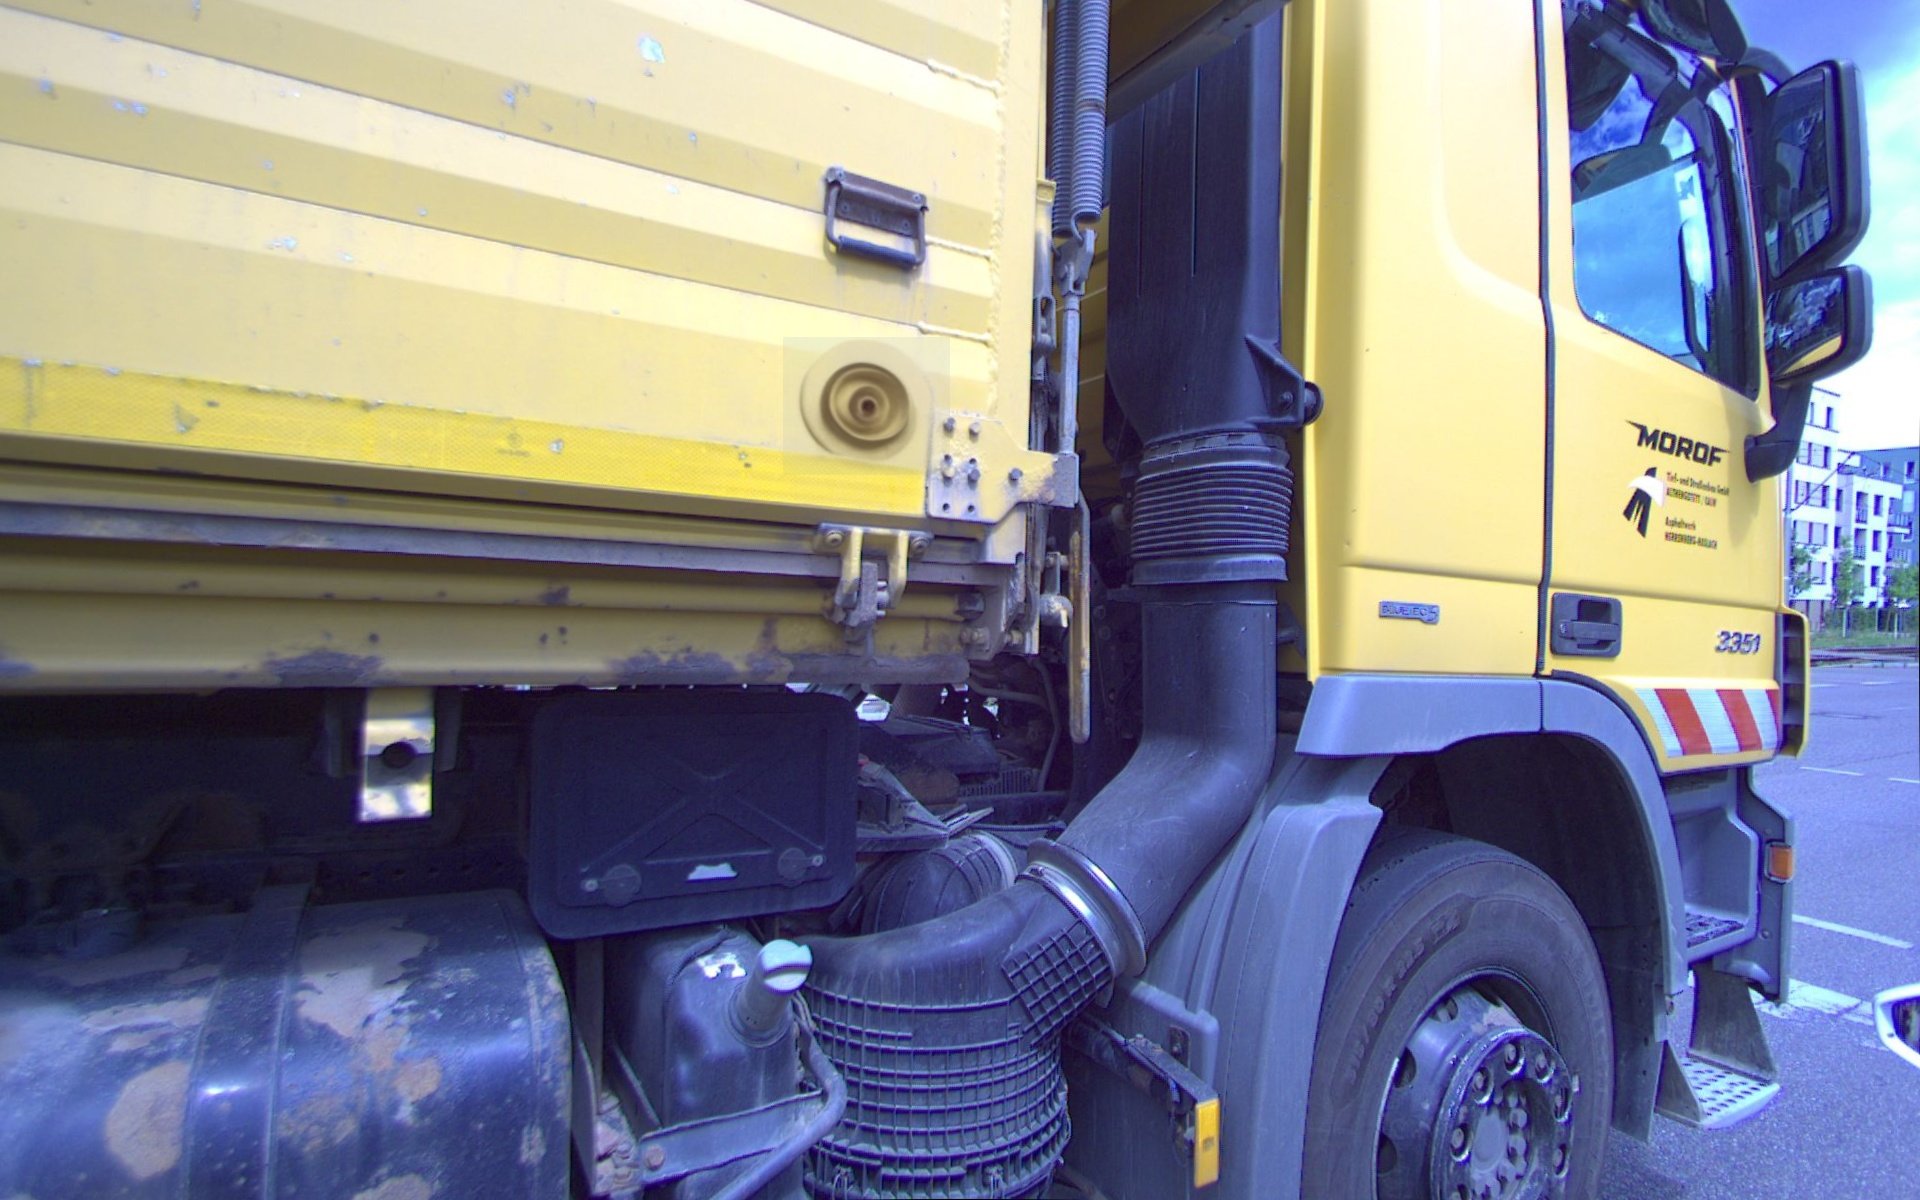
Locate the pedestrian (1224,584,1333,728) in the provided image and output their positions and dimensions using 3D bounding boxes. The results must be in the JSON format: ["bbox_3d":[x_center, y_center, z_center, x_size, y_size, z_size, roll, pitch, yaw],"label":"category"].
[{"bbox_3d":[4.175,0.699,13.209,0.918,1.796,0.998,1,0,-29],"label":"pedestrian"}]

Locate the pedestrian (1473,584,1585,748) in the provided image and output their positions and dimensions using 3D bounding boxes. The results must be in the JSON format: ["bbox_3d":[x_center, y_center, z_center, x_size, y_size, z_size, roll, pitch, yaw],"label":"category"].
[{"bbox_3d":[6.421,0.716,11.348,0.818,1.766,0.778,1,0,-30],"label":"pedestrian"}]

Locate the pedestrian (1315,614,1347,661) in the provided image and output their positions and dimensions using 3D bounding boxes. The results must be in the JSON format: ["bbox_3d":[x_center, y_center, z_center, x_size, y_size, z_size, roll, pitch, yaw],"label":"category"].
[{"bbox_3d":[13.469,1.360,36.475,1.048,1.670,0.708,1,0,18],"label":"pedestrian"}]

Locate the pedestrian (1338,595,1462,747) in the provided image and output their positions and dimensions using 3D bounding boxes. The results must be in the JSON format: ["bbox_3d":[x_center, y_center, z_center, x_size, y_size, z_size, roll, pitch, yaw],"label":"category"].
[{"bbox_3d":[4.995,0.769,11.432,0.918,1.628,0.908,1,0,-30],"label":"pedestrian"}]

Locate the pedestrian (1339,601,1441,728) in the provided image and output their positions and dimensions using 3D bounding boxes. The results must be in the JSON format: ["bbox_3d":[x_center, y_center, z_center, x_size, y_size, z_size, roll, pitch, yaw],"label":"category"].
[{"bbox_3d":[5.750,0.829,13.456,0.897,1.618,0.888,1,0,-30],"label":"pedestrian"}]

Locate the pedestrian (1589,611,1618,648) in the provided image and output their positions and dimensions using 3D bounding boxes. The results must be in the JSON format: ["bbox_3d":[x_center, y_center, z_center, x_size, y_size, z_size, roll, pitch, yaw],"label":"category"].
[{"bbox_3d":[26.972,1.224,42.123,0.628,1.536,0.827,1,0,-30],"label":"pedestrian"}]

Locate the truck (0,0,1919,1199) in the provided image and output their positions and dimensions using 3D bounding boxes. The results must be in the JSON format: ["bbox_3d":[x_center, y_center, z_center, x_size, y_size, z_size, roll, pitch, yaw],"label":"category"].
[{"bbox_3d":[-1.713,-0.229,1.635,7.916,3.439,3.033,1,0,-32],"label":"truck"}]
